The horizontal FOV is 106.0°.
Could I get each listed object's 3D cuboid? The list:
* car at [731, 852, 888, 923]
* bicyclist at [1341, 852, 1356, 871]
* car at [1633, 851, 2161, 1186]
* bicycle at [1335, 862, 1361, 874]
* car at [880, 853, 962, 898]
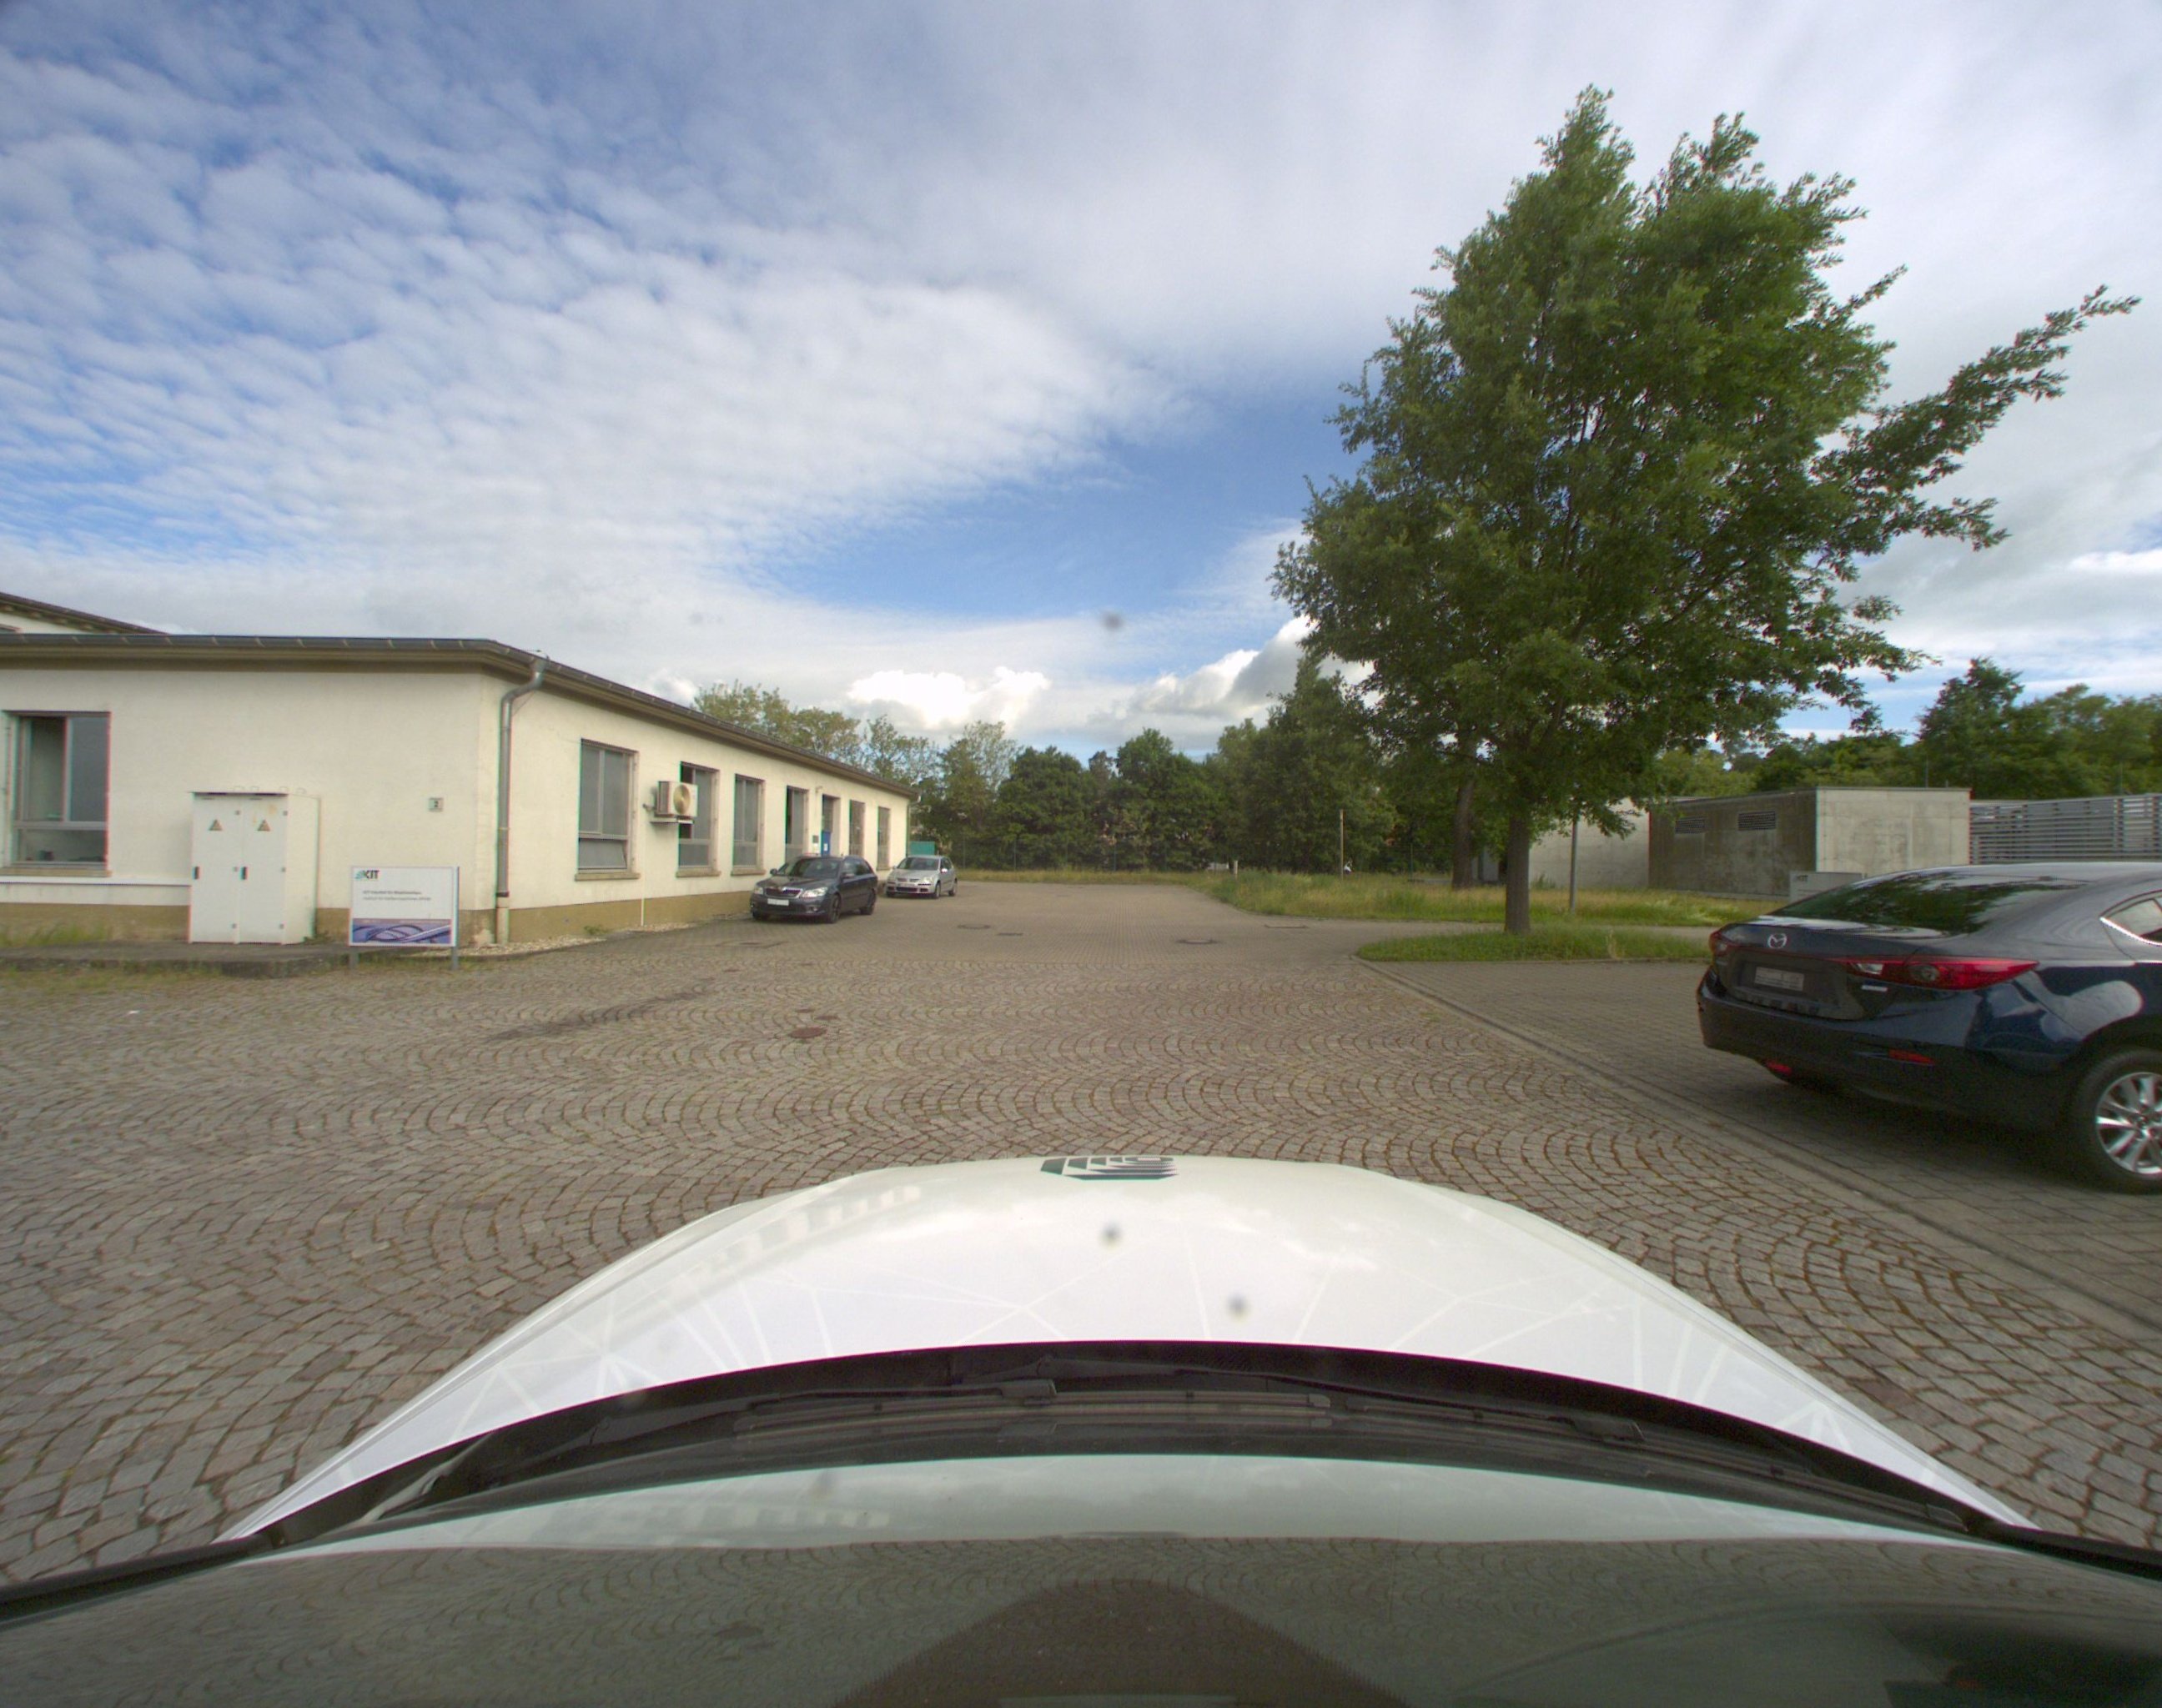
[{"bbox_3d":[-6.146,0.695,19.127,1.917,1.439,4.813,1,0,2],"label":"car"},{"bbox_3d":[17.217,0.457,52.387,0.766,1.206,0.588,1,-1,2],"label":"bicyclist"},{"bbox_3d":[5.932,0.715,4.490,4.446,1.447,1.945,-1,0,2],"label":"car"},{"bbox_3d":[17.161,0.890,52.374,1.511,0.791,0.588,1,0,2],"label":"bicycle"},{"bbox_3d":[-5.577,0.713,28.953,1.917,1.439,4.369,1,0,2],"label":"car"}]
